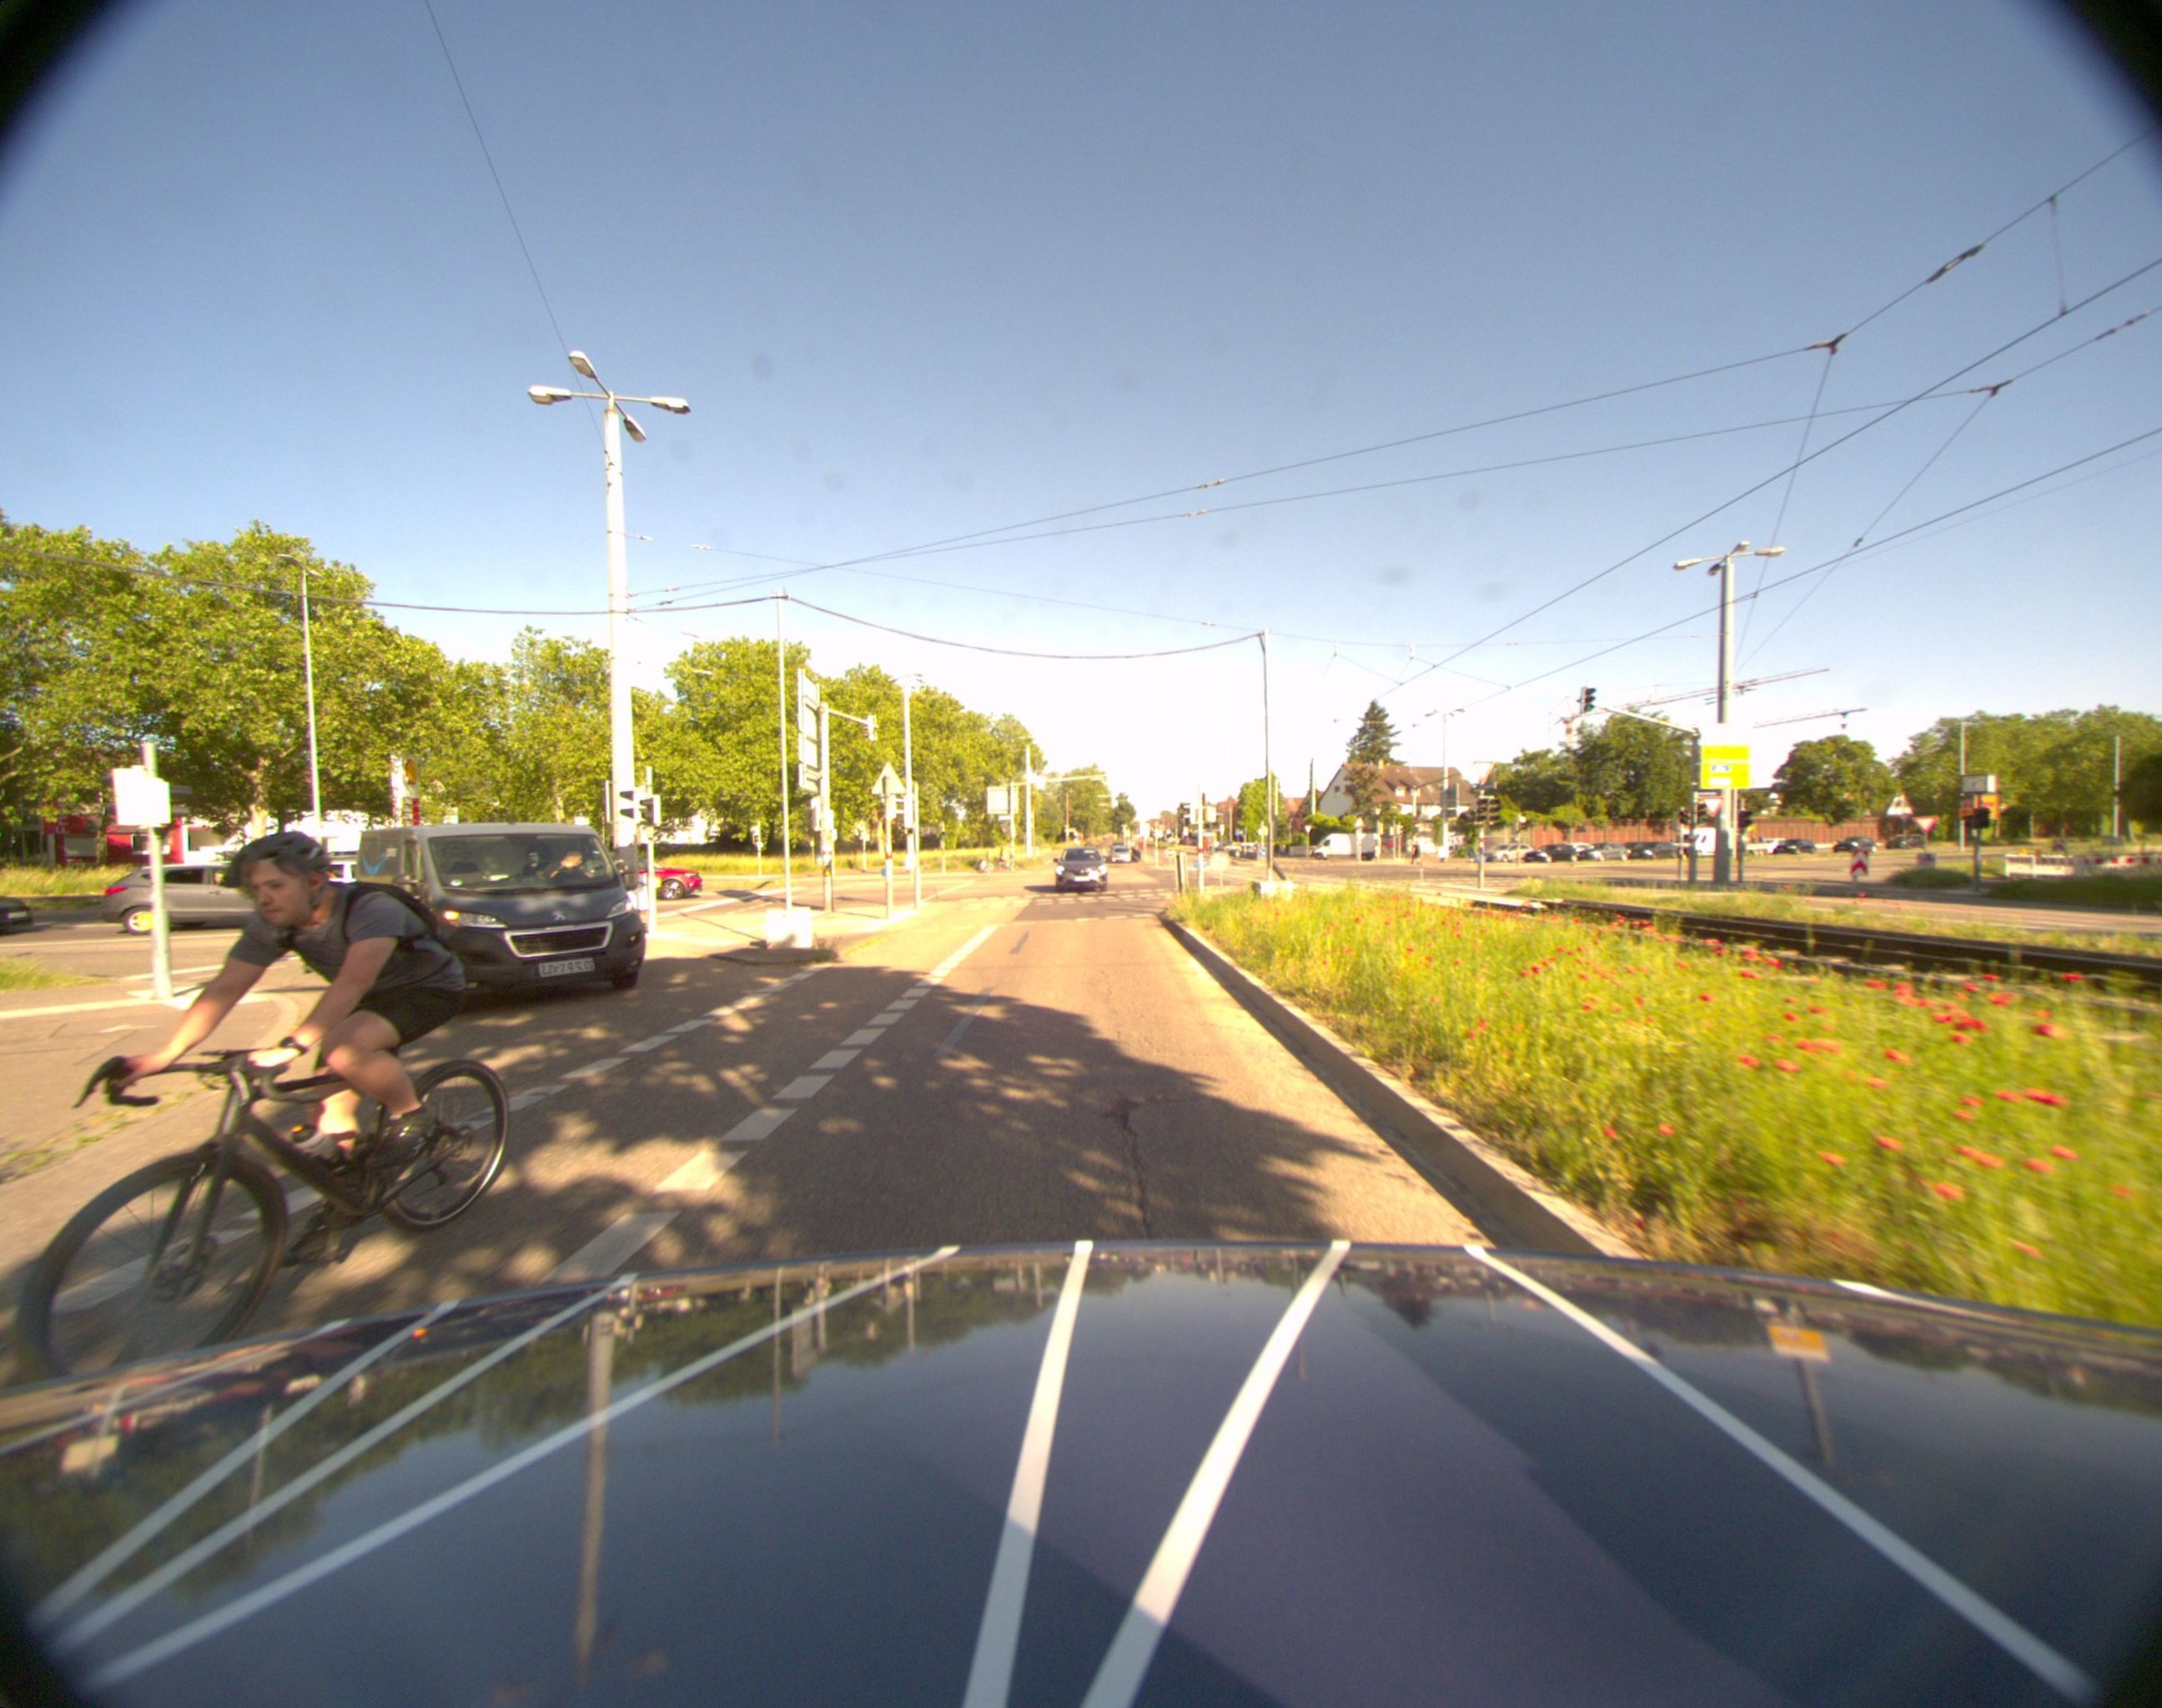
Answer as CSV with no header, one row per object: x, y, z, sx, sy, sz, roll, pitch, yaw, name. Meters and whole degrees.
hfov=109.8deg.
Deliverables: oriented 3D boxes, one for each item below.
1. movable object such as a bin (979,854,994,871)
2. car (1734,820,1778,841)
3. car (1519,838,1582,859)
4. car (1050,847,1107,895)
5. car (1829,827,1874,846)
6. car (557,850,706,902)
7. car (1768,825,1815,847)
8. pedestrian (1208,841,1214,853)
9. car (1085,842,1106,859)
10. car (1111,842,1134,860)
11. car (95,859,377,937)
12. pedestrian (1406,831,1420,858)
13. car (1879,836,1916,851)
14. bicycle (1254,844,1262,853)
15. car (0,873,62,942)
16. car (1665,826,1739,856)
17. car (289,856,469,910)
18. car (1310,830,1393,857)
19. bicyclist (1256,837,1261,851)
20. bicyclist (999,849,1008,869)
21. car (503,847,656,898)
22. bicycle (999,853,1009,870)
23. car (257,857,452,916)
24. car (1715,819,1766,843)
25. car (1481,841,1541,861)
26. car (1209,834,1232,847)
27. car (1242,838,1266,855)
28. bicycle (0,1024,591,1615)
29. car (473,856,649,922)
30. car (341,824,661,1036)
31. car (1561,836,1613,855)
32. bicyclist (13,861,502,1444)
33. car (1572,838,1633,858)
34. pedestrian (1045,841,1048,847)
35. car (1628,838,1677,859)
-6.118,0.535,49.184,0.911,1.062,1.316,-1,2,-3,movable object such as a bin
65.120,-2.267,73.321,4.005,2.002,1.804,-1,2,-26,car
34.609,-0.400,56.031,4.254,1.458,1.934,-1,2,-25,car
-0.021,0.553,27.254,1.838,1.542,3.815,0,2,3,car
72.503,-1.650,71.507,4.005,1.732,1.804,-1,1,-26,car
-15.163,0.705,25.906,4.094,1.591,1.812,-1,2,-22,car
64.277,-1.640,68.741,4.005,2.002,1.804,-1,2,-26,car
15.776,-0.836,92.266,0.623,1.406,0.711,-1,1,1,pedestrian
1.290,-0.365,70.868,1.839,1.542,3.814,0,2,0,car
3.680,-0.275,67.585,1.881,1.519,4.420,0,2,1,car
-20.918,1.026,19.113,4.281,1.669,1.930,-1,1,-26,car
24.243,-0.673,55.486,0.612,1.937,0.774,-2,2,-41,pedestrian
92.010,-1.197,85.625,4.006,1.696,1.995,-1,1,-30,car
20.944,-0.634,89.814,0.508,1.036,1.948,0,1,2,bicycle
-26.939,1.279,16.951,4.576,1.400,1.929,-1,5,-26,car
51.260,-1.126,62.677,5.928,2.397,2.176,-1,2,-23,car
-23.511,0.924,25.666,4.005,1.609,1.996,-1,1,-25,car
24.772,-0.967,69.712,6.850,2.444,2.353,1,2,33,car
20.932,-1.199,89.475,0.490,1.599,0.648,0,2,2,bicyclist
-5.102,0.317,50.004,0.511,1.333,0.564,-1,2,-7,bicyclist
-18.550,0.618,28.382,4.500,1.702,1.916,-1,2,-25,car
-5.114,0.497,50.626,0.468,1.112,1.819,-1,1,0,bicycle
-21.810,0.917,23.004,3.864,1.591,1.710,-1,1,-22,car
56.688,-1.948,65.328,4.005,2.002,1.804,-1,2,-26,car
33.238,-0.277,58.757,4.642,1.469,1.668,-1,2,-25,car
17.885,-1.716,97.516,1.818,1.587,4.690,-1,1,-2,car
18.031,-0.783,79.321,1.795,1.678,4.001,0,1,3,car
-2.813,1.346,2.819,0.525,0.918,2.089,0,2,3,bicycle
-14.709,0.940,21.764,3.865,1.592,1.709,-2,2,-26,car
-7.643,0.701,9.796,5.104,2.059,2.135,0,2,40,car
41.590,-0.740,62.434,4.005,1.469,1.668,-1,2,-25,car
-2.726,0.876,2.661,0.616,1.670,0.933,0,2,2,bicyclist
39.832,-0.452,58.015,4.264,1.458,1.934,-1,1,-25,car
-5.504,-1.595,120.728,0.482,1.027,0.454,0,2,3,pedestrian
45.063,-0.462,59.937,3.532,1.559,1.494,-1,1,-23,car
